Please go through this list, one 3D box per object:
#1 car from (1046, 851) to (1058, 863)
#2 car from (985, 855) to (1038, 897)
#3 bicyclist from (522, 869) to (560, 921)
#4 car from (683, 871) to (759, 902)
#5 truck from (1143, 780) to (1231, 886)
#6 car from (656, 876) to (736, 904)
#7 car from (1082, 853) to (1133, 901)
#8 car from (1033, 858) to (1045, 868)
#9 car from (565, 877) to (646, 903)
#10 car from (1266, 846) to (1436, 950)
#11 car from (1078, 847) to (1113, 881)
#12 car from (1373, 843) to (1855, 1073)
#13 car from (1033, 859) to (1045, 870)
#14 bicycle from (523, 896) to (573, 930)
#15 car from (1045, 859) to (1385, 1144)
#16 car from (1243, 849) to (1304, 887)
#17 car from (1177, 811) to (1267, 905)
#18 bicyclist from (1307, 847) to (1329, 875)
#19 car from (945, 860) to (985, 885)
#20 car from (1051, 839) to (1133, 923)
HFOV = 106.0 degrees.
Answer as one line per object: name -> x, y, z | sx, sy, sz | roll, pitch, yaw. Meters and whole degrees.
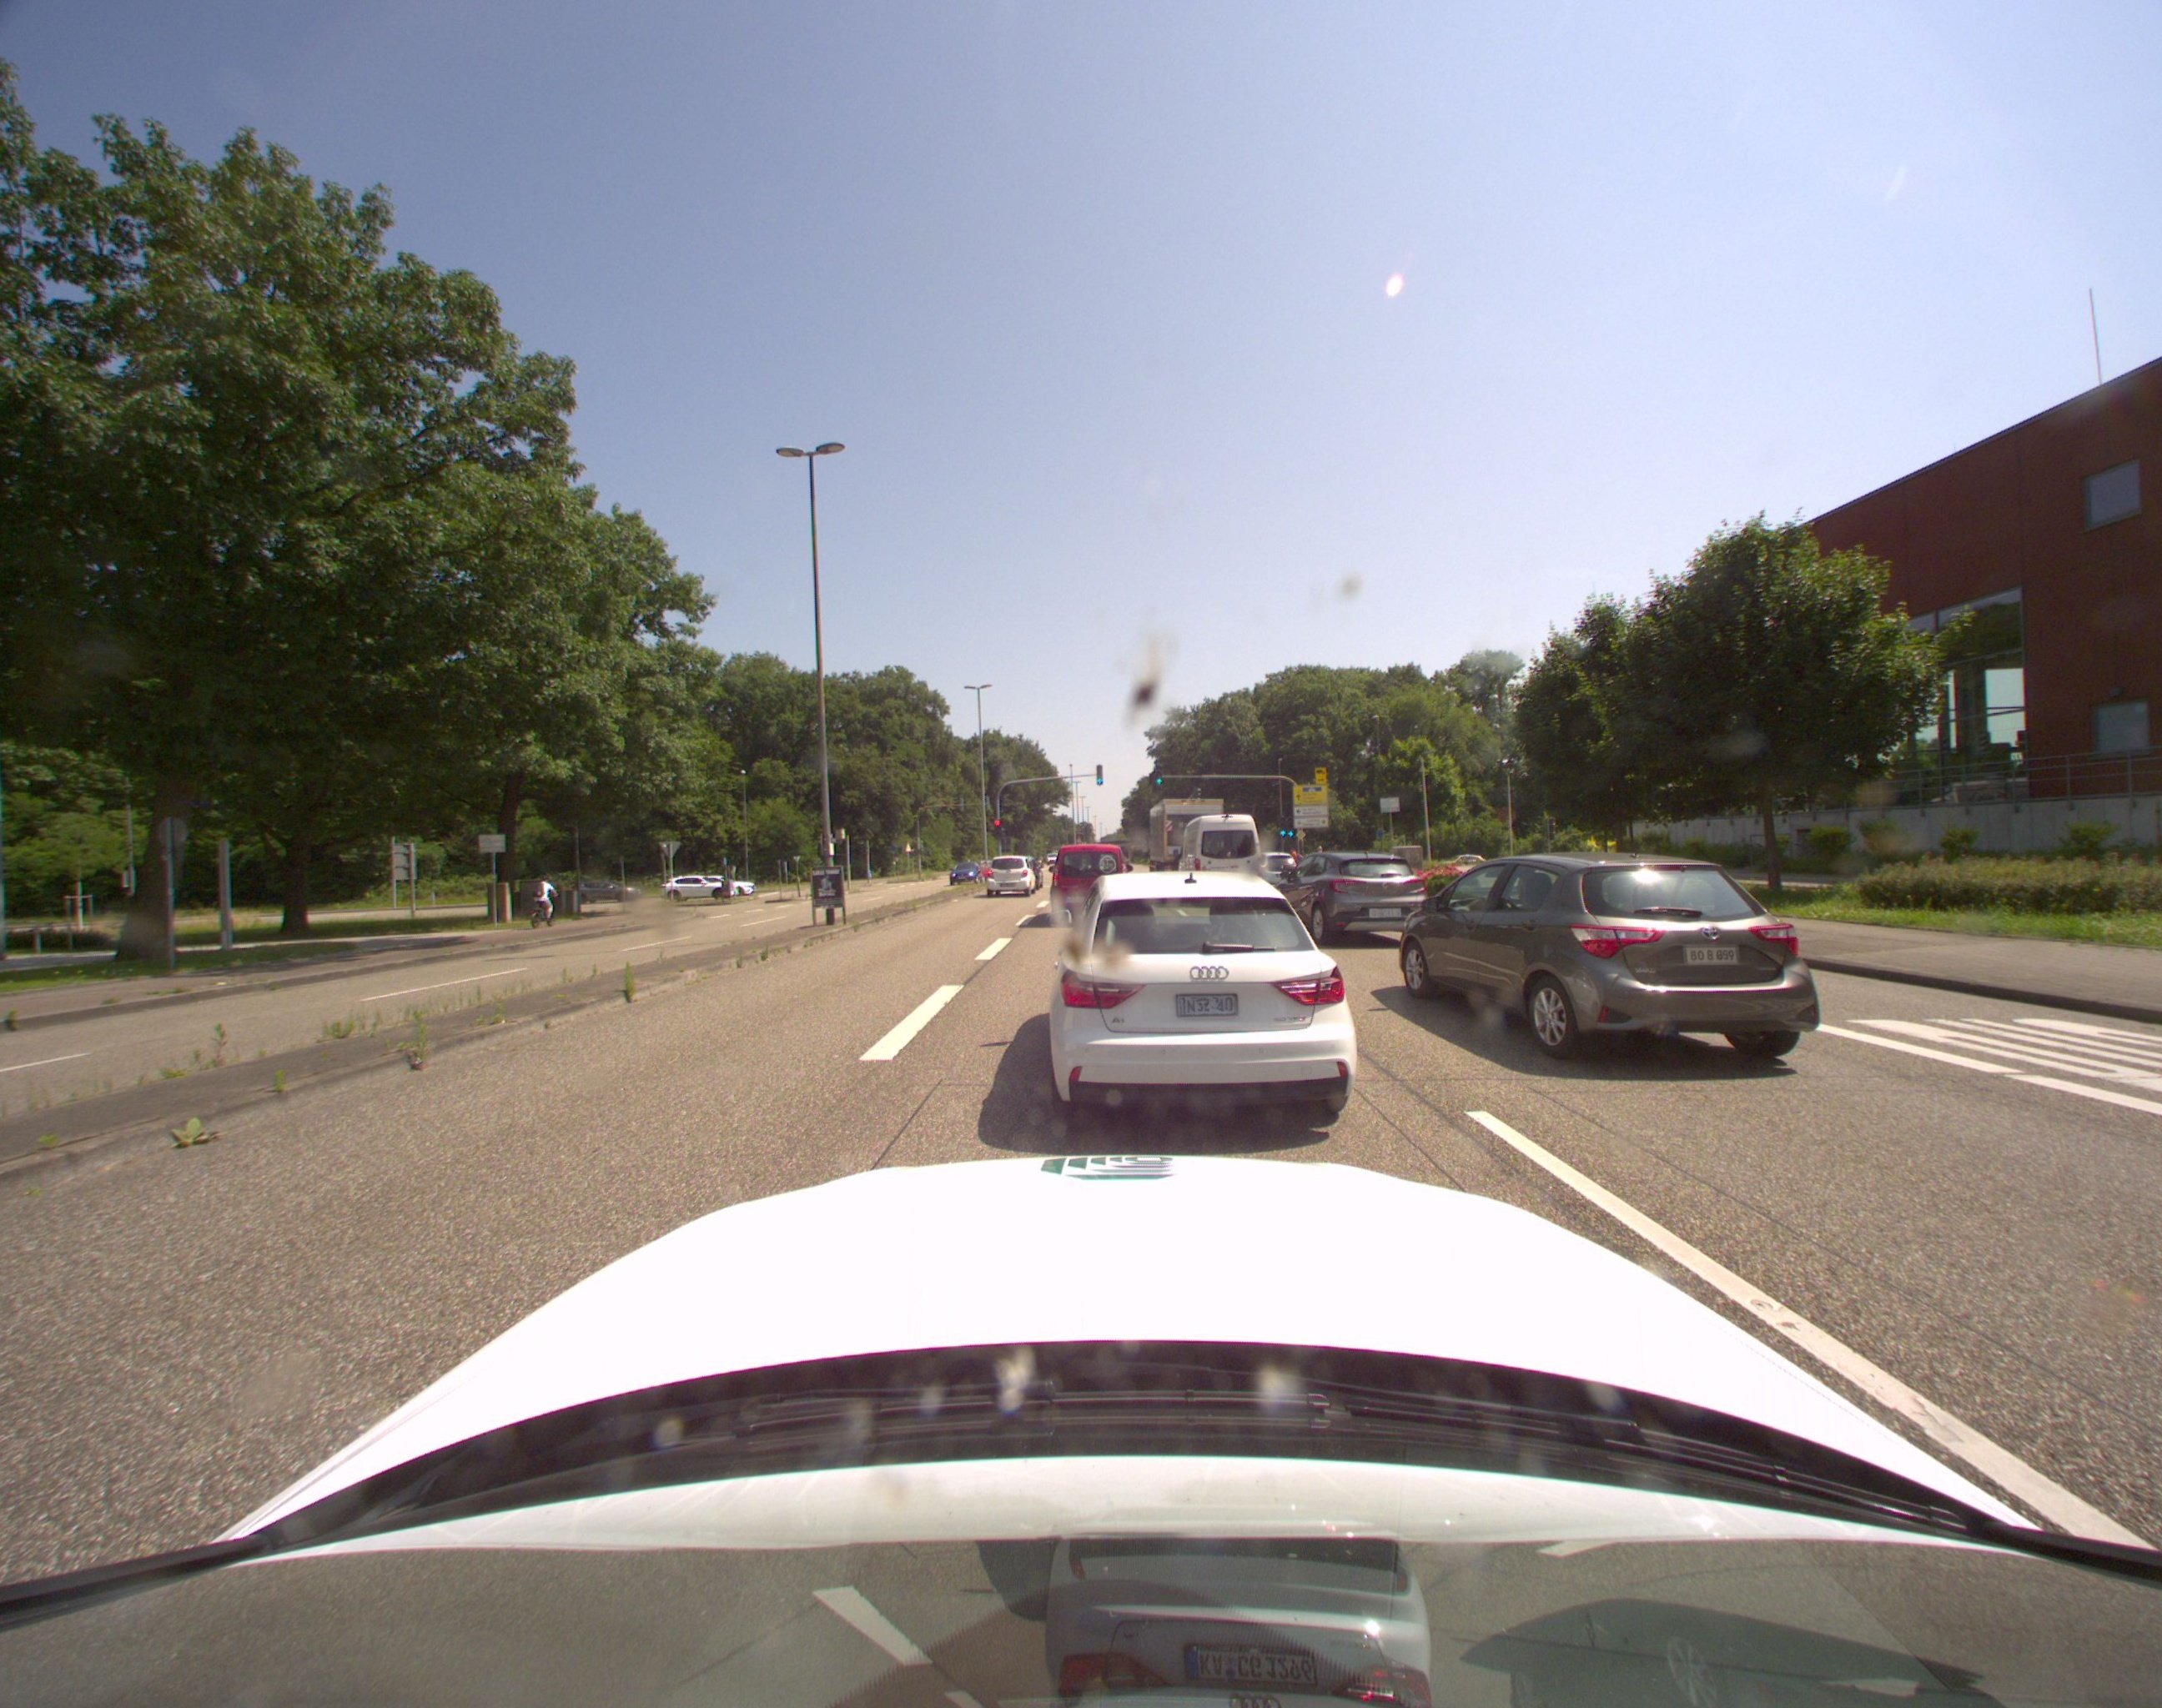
car -> -4.967, 0.540, 138.953 | 1.866, 1.861, 4.000 | -2, 0, 1
car -> -2.640, 0.799, 31.705 | 1.706, 1.493, 4.091 | -1, 0, 0
bicyclist -> -17.504, 1.319, 26.399 | 0.607, 1.630, 0.922 | -2, 0, -5
car -> -25.002, 2.222, 56.645 | 4.367, 1.681, 1.806 | -6, 0, -7
truck -> 4.922, -0.876, 40.102 | 3.077, 4.434, 11.584 | -1, 0, 2
car -> -24.912, 2.311, 52.820 | 4.366, 1.681, 1.806 | 0, -1, -7
car -> 0.914, 0.797, 30.054 | 1.706, 1.631, 4.091 | -1, 0, 0
car -> -7.774, 1.595, 150.389 | 1.824, 1.728, 4.001 | -2, 0, 1
car -> -32.626, 2.465, 56.001 | 4.371, 1.681, 1.804 | 0, -1, -10
car -> 4.692, 0.687, 14.791 | 1.706, 1.593, 4.091 | -1, 0, 0
car -> 0.744, 0.510, 42.399 | 1.706, 1.631, 4.091 | -1, 0, 0
car -> 4.250, 0.688, 7.413 | 1.706, 1.478, 4.091 | 1, 0, 0
car -> -7.793, 1.939, 150.590 | 1.866, 1.861, 4.000 | -2, 0, 1
bicycle -> -17.498, 1.913, 26.778 | 0.616, 0.969, 1.657 | -2, 0, -5
car -> 0.685, 0.761, 6.189 | 1.706, 1.386, 4.091 | -1, 0, 0
car -> 8.453, 0.582, 36.055 | 1.706, 1.546, 4.091 | -1, 0, 0
car -> 4.313, 0.117, 25.660 | 2.024, 2.644, 4.845 | -1, 0, 1
bicyclist -> 12.212, 0.366, 41.935 | 0.603, 1.439, 0.819 | -2, 0, -43
car -> -7.445, 1.156, 52.517 | 1.798, 1.335, 4.000 | -6, 0, 1
car -> 0.230, 0.576, 19.304 | 1.706, 1.748, 4.091 | -1, 0, 0
